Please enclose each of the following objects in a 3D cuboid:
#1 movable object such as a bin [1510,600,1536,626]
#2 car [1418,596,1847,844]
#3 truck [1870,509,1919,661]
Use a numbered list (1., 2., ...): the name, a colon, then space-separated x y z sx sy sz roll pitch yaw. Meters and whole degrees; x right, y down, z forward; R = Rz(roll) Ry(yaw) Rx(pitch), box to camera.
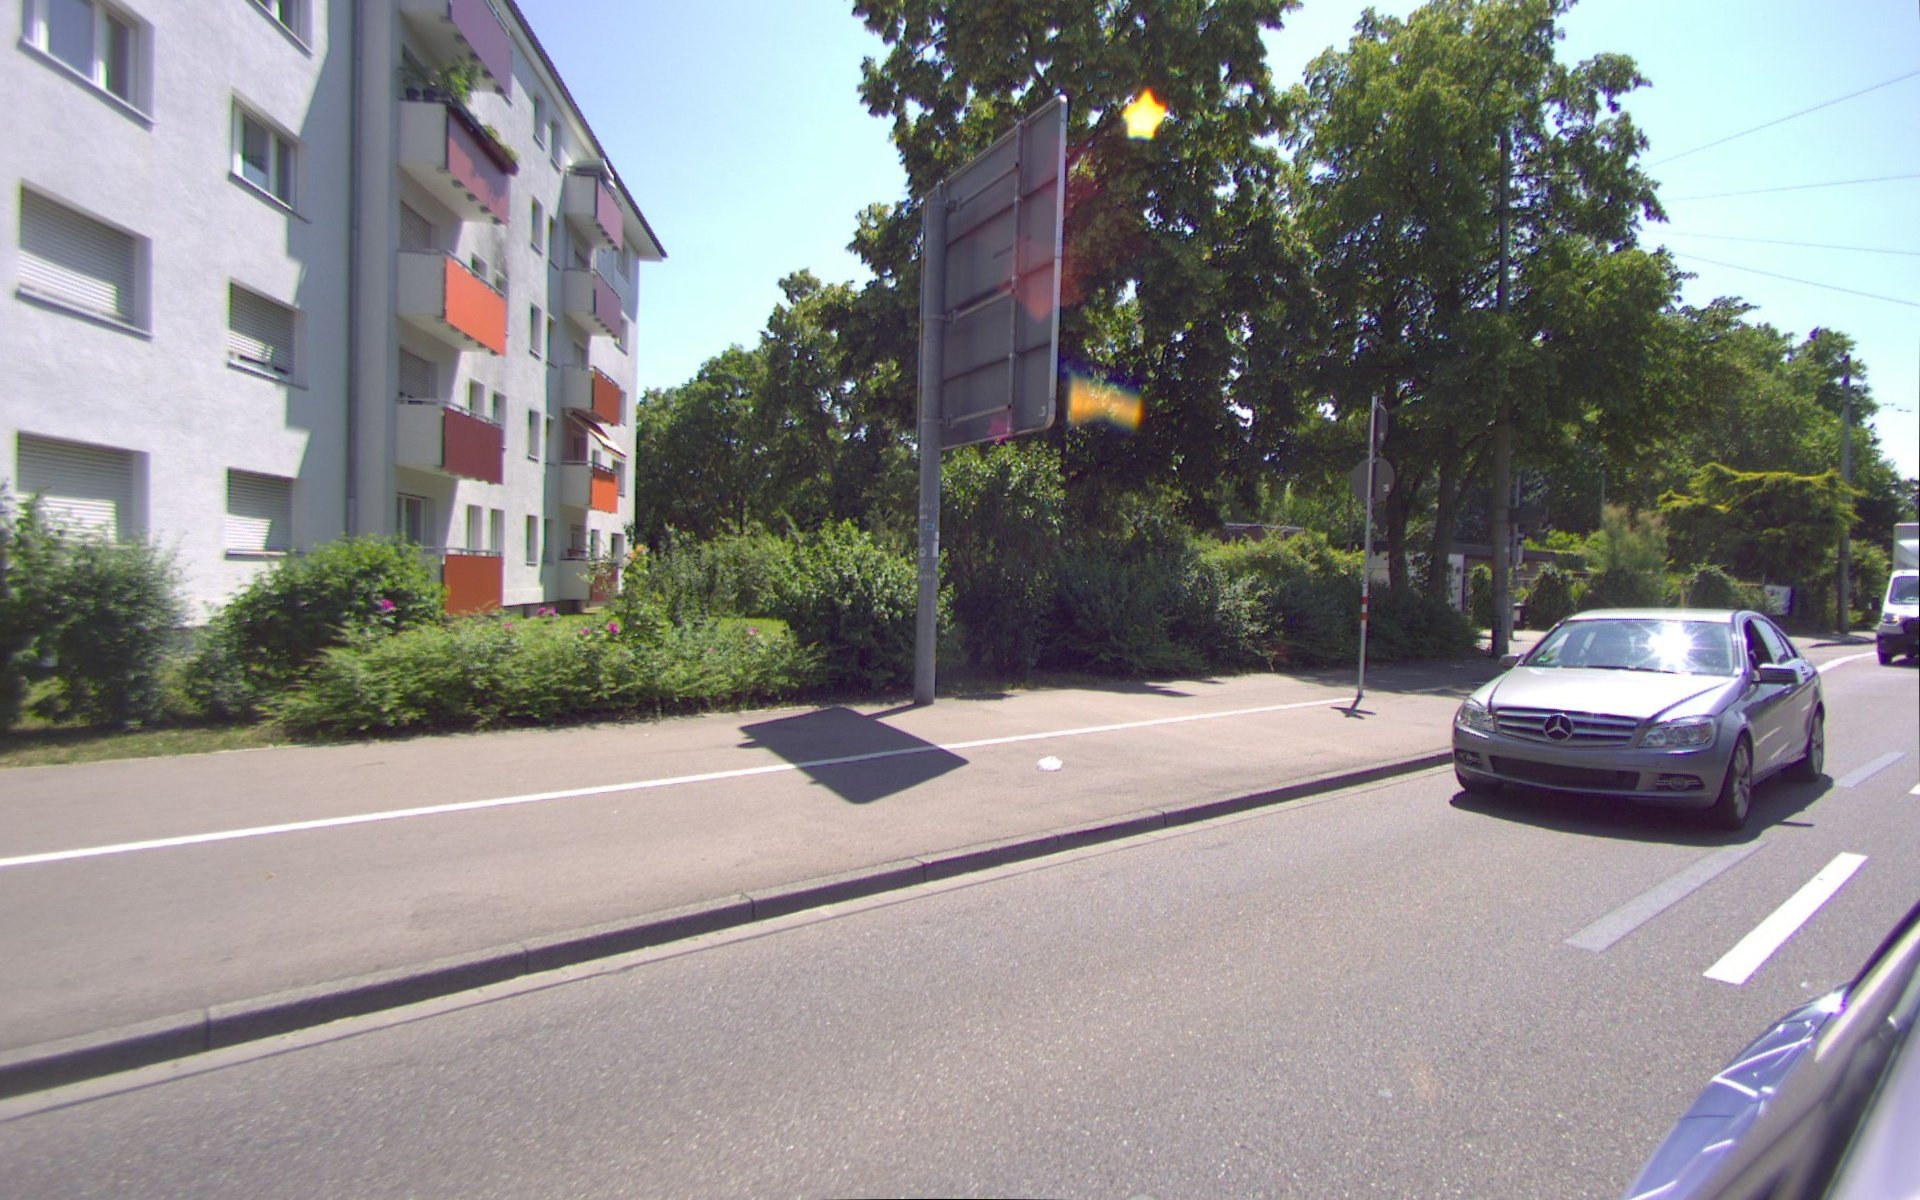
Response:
1. movable object such as a bin: 20.494 0.483 36.834 0.625 0.914 0.631 0 1 -37
2. car: 5.484 0.718 8.076 3.901 1.478 1.902 0 0 -41
3. truck: 24.403 -0.352 24.386 8.160 3.319 2.294 0 1 -38
